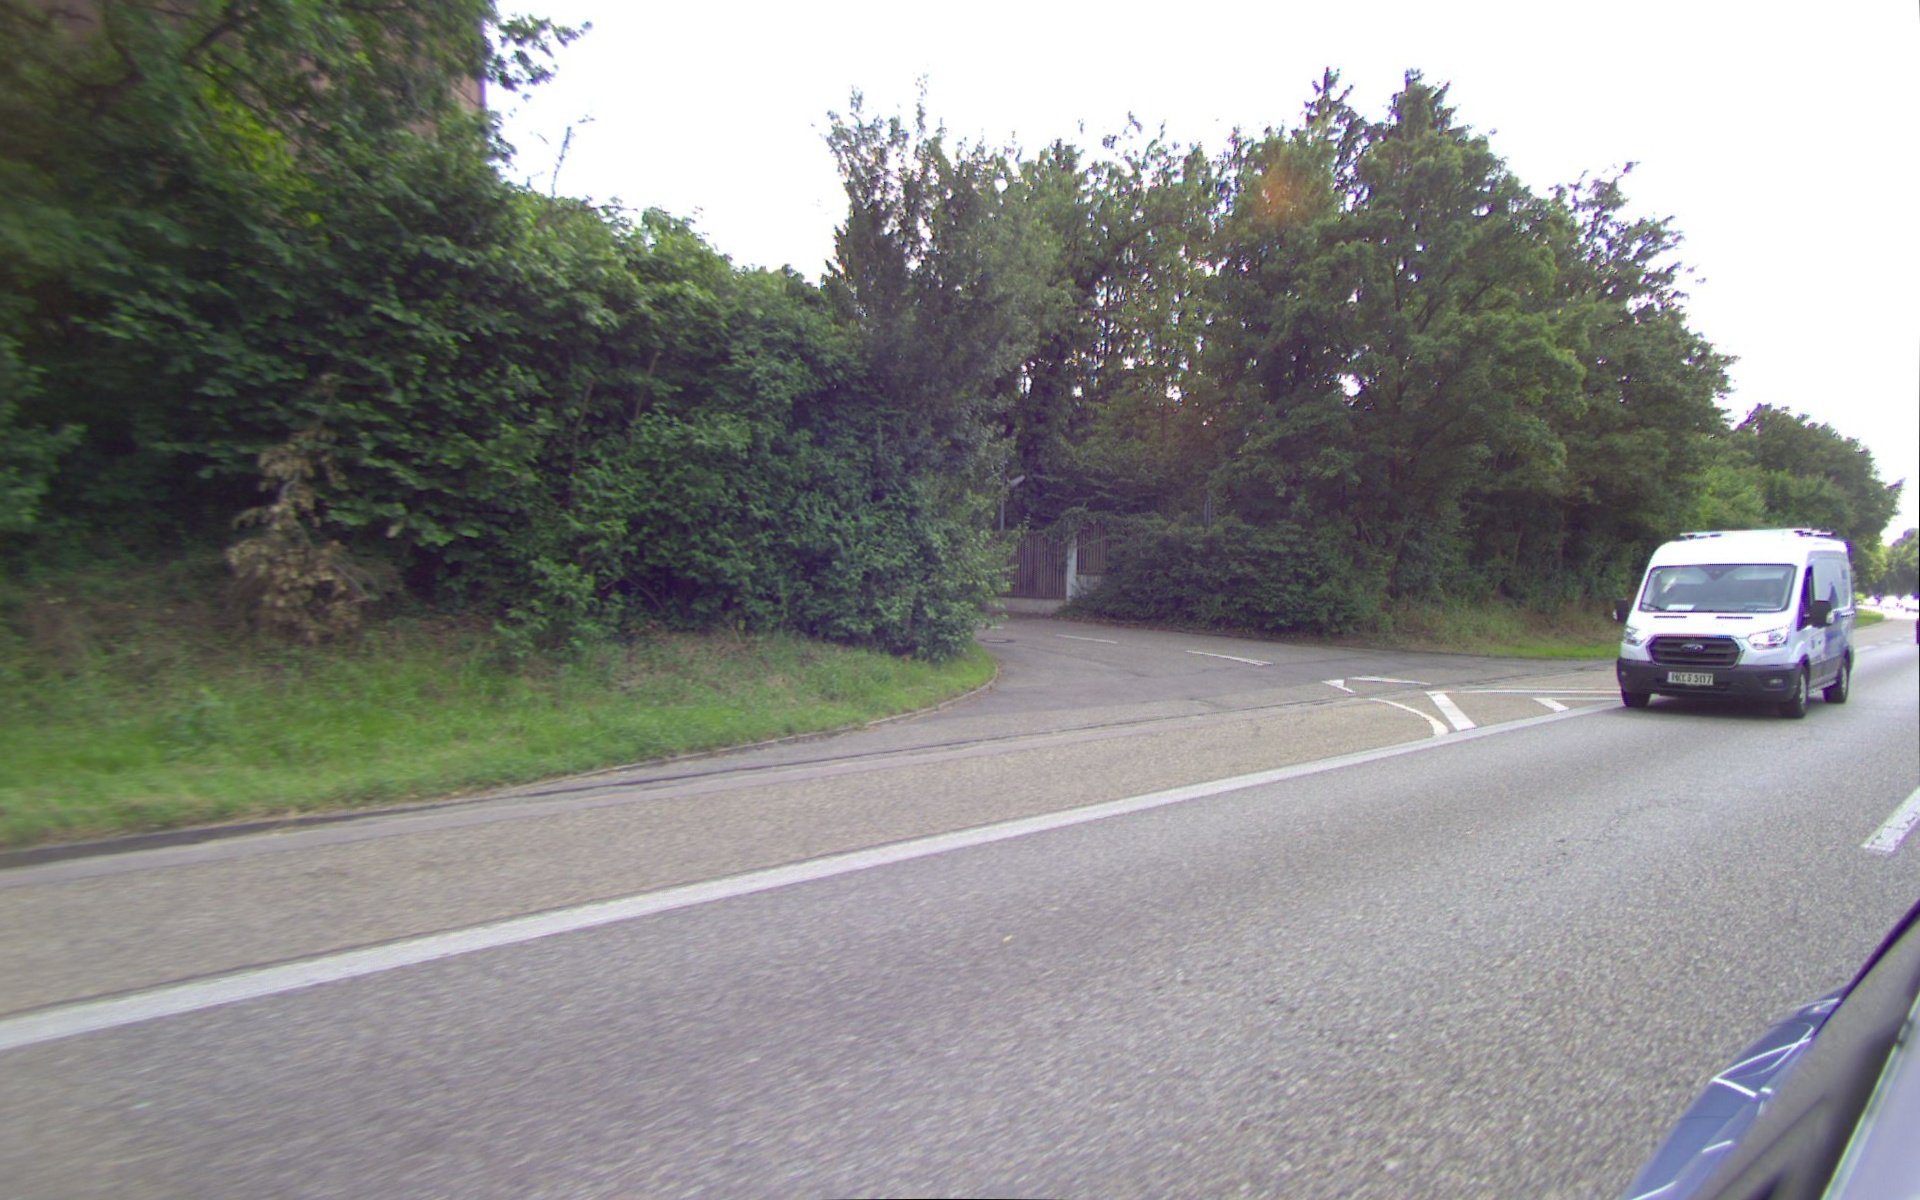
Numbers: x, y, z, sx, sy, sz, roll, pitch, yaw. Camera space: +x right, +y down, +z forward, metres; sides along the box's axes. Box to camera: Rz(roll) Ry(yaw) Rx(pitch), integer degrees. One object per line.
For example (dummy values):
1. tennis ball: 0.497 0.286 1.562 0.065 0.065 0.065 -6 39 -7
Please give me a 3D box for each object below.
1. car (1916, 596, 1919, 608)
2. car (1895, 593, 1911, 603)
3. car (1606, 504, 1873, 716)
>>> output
1. car: 127.652 0.302 133.828 1.781 1.540 3.937 2 2 44
2. car: 156.736 -0.384 168.232 1.780 1.540 3.940 2 2 42
3. car: 11.410 0.109 14.656 5.187 2.539 2.102 0 0 -41
